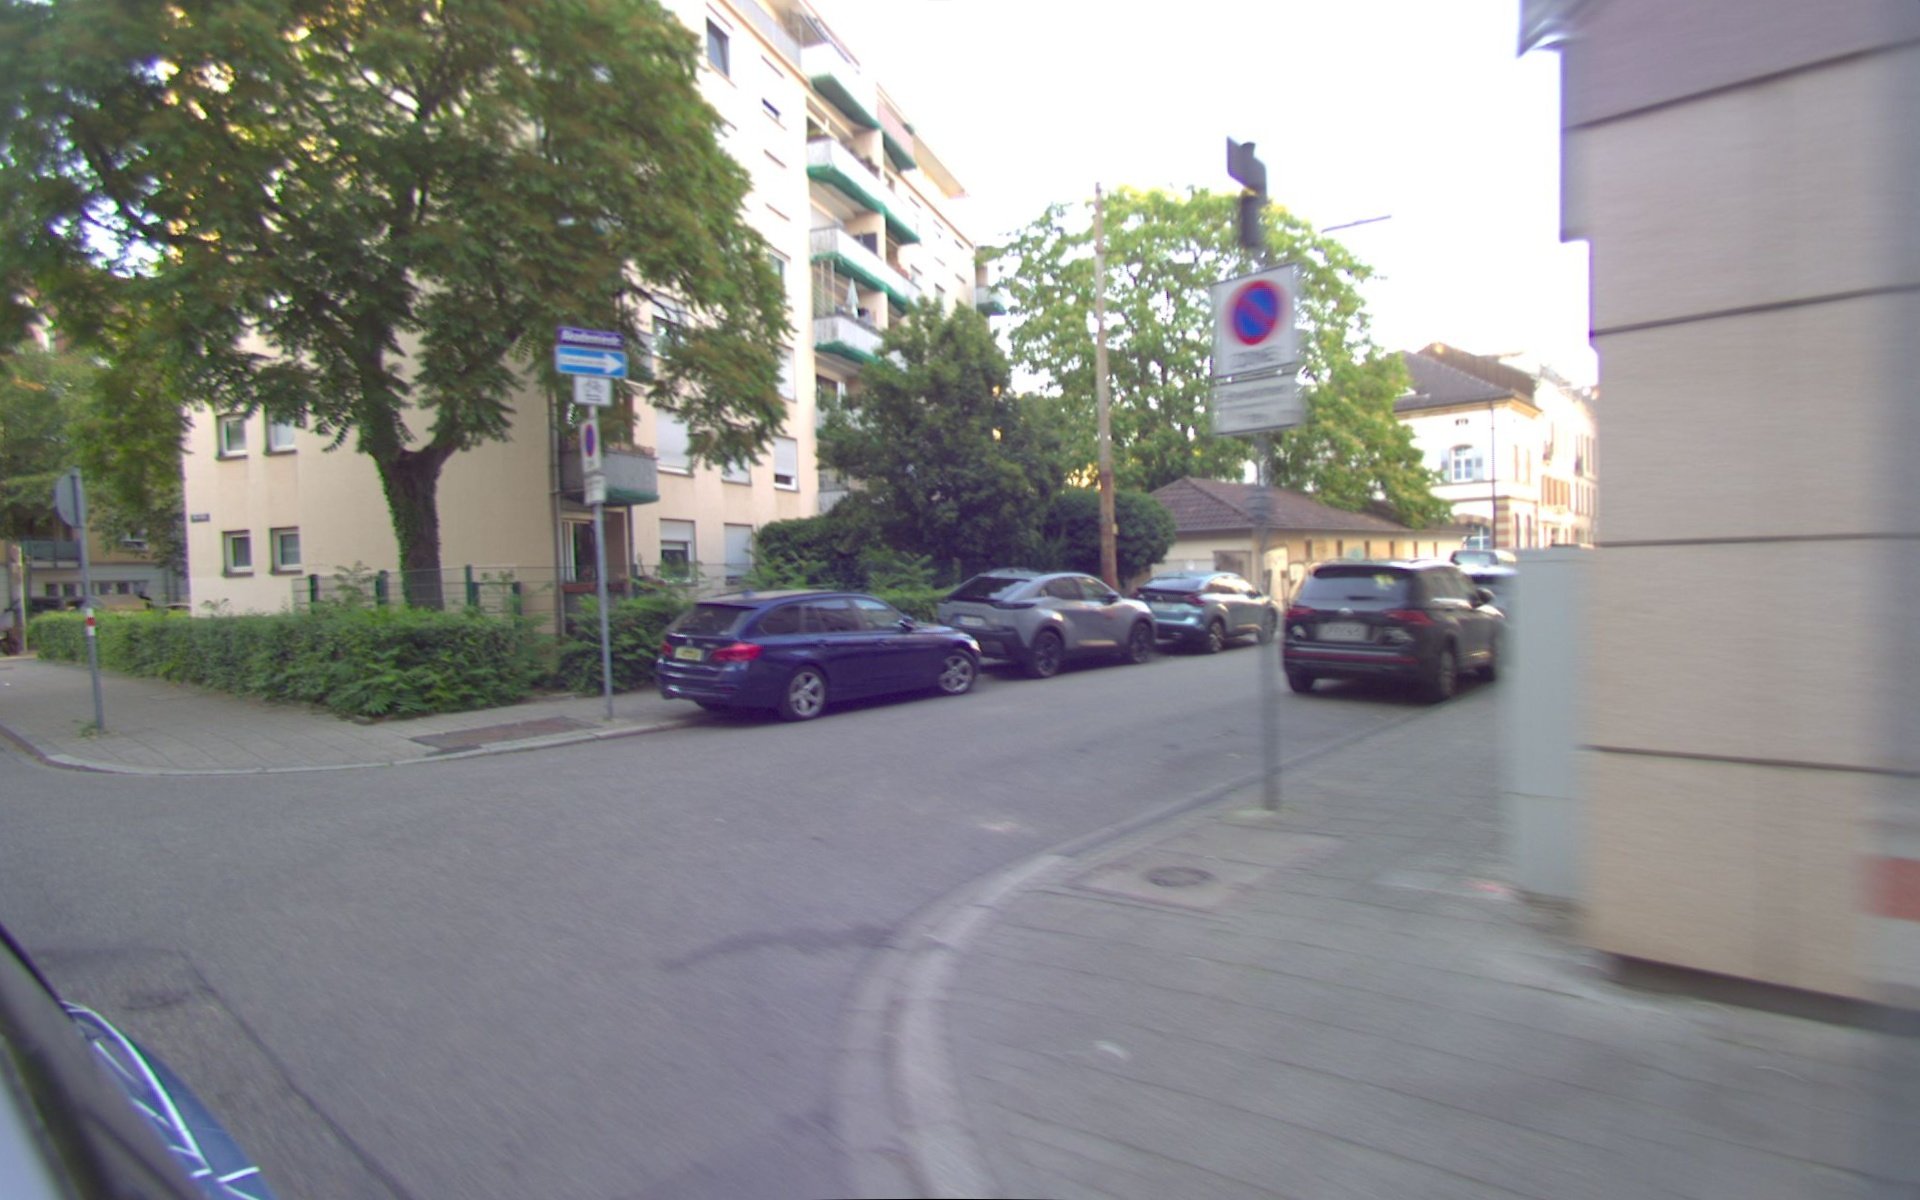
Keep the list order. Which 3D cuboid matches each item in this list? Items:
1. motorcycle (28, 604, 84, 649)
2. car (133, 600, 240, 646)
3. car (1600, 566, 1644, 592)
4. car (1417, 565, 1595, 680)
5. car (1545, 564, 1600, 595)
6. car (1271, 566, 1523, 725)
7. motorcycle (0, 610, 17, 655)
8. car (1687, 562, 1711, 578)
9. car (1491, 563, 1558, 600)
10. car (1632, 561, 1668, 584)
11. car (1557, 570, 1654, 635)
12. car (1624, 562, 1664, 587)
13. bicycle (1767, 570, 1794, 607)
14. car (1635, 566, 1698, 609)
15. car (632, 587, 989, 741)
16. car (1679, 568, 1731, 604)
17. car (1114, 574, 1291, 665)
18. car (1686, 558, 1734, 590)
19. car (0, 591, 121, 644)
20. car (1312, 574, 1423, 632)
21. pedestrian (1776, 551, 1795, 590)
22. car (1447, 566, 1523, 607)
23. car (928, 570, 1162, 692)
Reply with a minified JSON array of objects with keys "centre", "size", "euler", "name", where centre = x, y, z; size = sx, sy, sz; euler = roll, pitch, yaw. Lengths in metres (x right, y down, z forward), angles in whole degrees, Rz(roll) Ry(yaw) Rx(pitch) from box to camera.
[{"centre":[-29.404,0.878,32.915],"size":[1.958,1.417,0.568],"euler":[-1,0,23],"name":"motorcycle"},{"centre":[-27.890,0.843,36.476],"size":[3.480,1.518,1.620],"euler":[-2,1,25],"name":"car"},{"centre":[38.854,-1.236,59.371],"size":[1.711,1.468,3.921],"euler":[2,3,40],"name":"car"},{"centre":[9.131,0.257,16.784],"size":[1.820,1.647,3.921],"euler":[2,3,40],"name":"car"},{"centre":[30.255,-1.037,49.975],"size":[1.711,1.468,3.921],"euler":[2,3,40],"name":"car"},{"centre":[5.553,0.403,12.598],"size":[1.820,1.647,3.921],"euler":[2,3,40],"name":"car"},{"centre":[-29.769,1.001,31.223],"size":[0.846,1.363,1.962],"euler":[-2,1,-39],"name":"motorcycle"},{"centre":[76.867,-3.136,105.282],"size":[1.711,1.612,3.921],"euler":[2,3,40],"name":"car"},{"centre":[23.772,-0.806,42.571],"size":[1.711,1.468,3.921],"euler":[2,3,40],"name":"car"},{"centre":[54.172,-2.148,79.456],"size":[1.998,1.710,3.948],"euler":[-1,1,39],"name":"car"},{"centre":[15.815,0.008,24.735],"size":[1.560,1.451,3.328],"euler":[2,3,40],"name":"car"},{"centre":[48.260,-1.835,71.370],"size":[1.998,1.672,3.948],"euler":[-1,1,39],"name":"car"},{"centre":[29.974,-0.421,36.946],"size":[0.661,1.297,2.399],"euler":[-1,0,41],"name":"bicycle"},{"centre":[25.386,-0.473,36.331],"size":[1.560,1.451,3.328],"euler":[2,3,40],"name":"car"},{"centre":[-1.643,0.630,12.506],"size":[1.725,1.493,4.328],"euler":[0,1,39],"name":"car"},{"centre":[31.642,-0.632,42.965],"size":[1.560,1.451,3.328],"euler":[2,3,40],"name":"car"},{"centre":[4.957,0.321,20.372],"size":[1.829,1.588,3.946],"euler":[-1,1,41],"name":"car"},{"centre":[34.932,-1.218,47.118],"size":[1.560,1.451,3.328],"euler":[2,3,40],"name":"car"},{"centre":[-37.829,0.677,42.420],"size":[4.295,2.092,2.215],"euler":[1,1,19],"name":"car"},{"centre":[11.400,0.020,28.194],"size":[1.711,1.468,3.921],"euler":[2,3,40],"name":"car"},{"centre":[36.382,-1.304,44.607],"size":[0.607,1.718,0.563],"euler":[-2,1,38],"name":"pedestrian"},{"centre":[19.795,-0.550,38.106],"size":[1.711,1.468,3.921],"euler":[2,3,40],"name":"car"},{"centre":[1.514,0.408,16.636],"size":[1.727,1.717,4.070],"euler":[-1,1,42],"name":"car"}]
